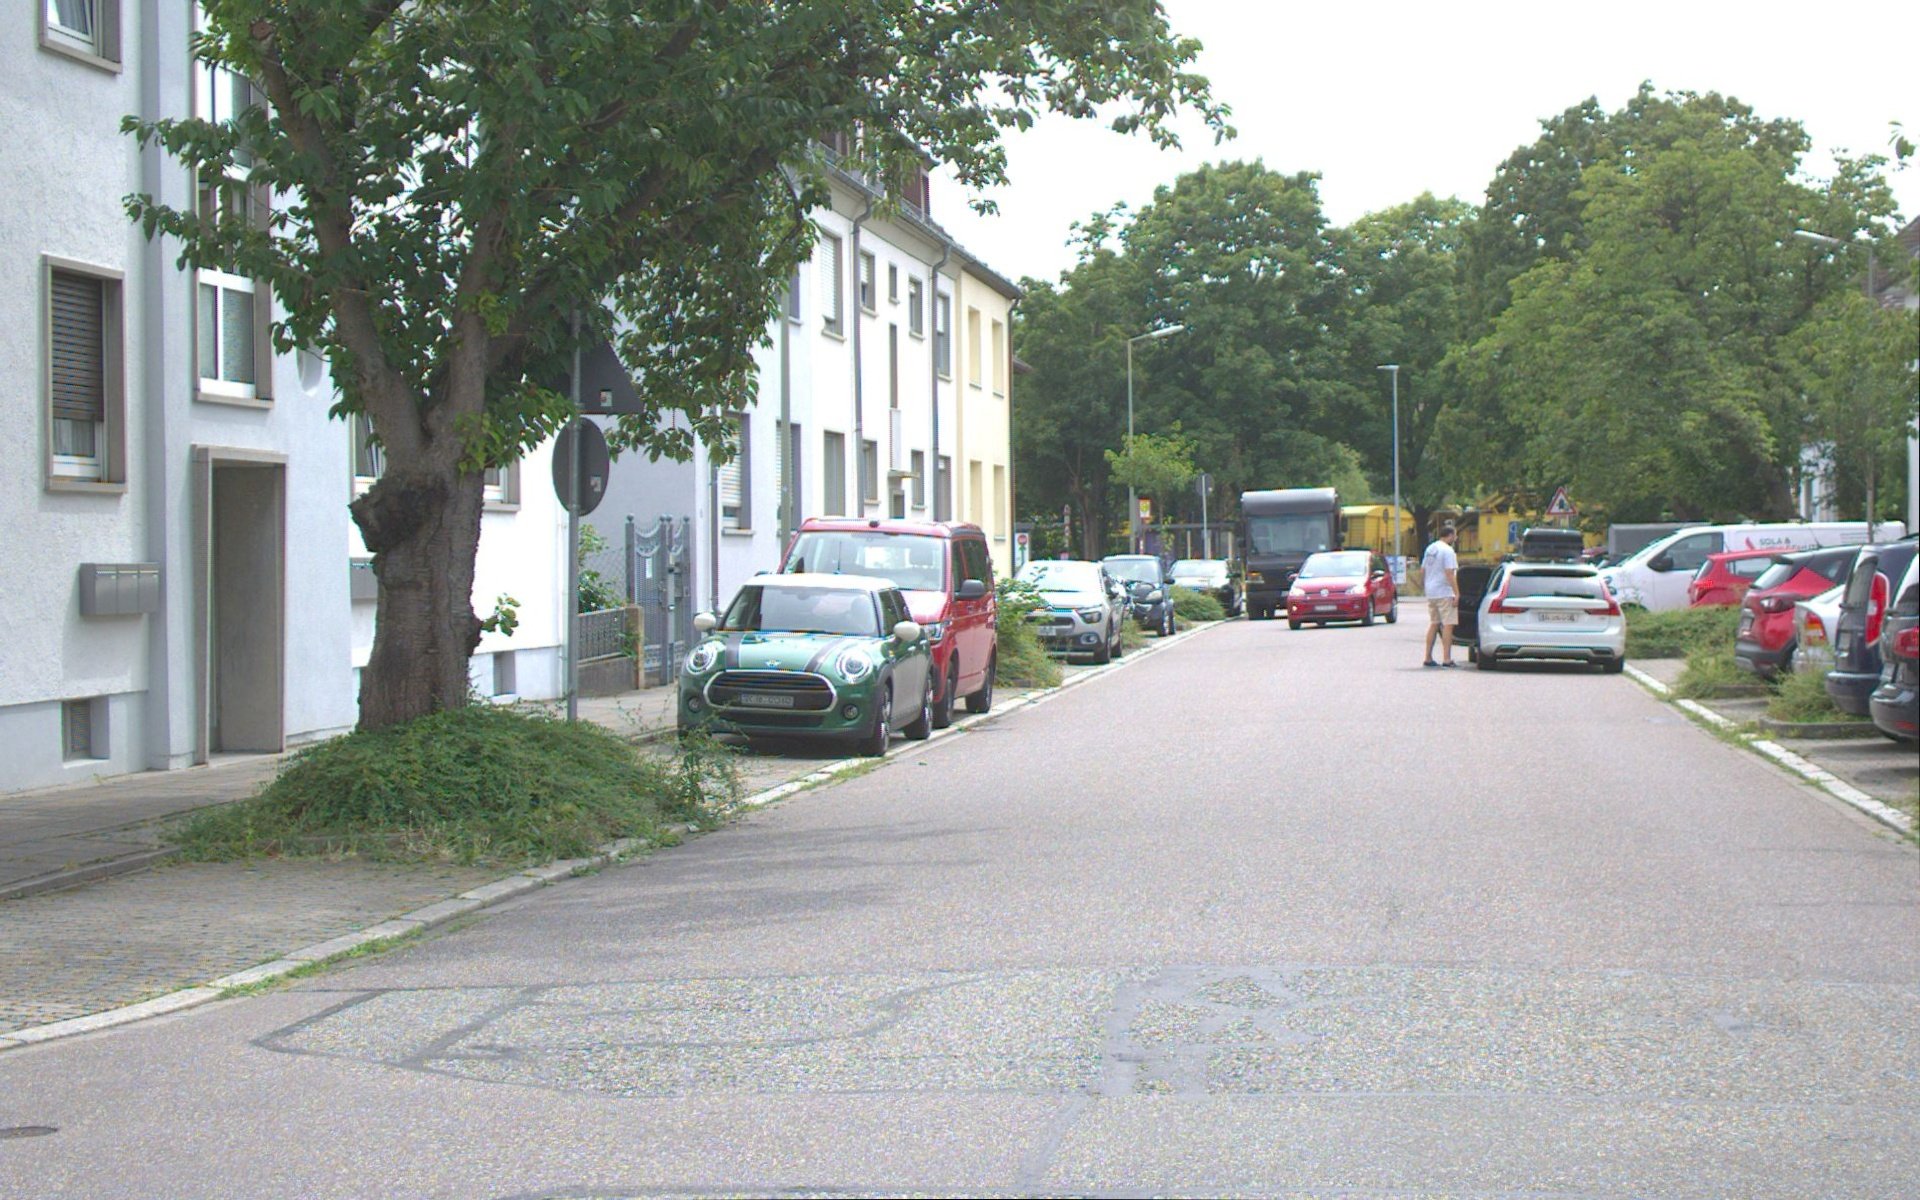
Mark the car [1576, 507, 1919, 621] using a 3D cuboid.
[{"bbox_3d":[12.098,-0.552,52.942,4.976,1.513,1.768,-2,0,6],"label":"car"}]

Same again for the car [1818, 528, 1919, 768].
[{"bbox_3d":[7.821,0.233,23.169,3.749,1.559,1.772,-2,0,9],"label":"car"}]

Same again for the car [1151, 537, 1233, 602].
[{"bbox_3d":[5.726,-0.758,84.572,1.621,1.497,3.999,-2,1,9],"label":"car"}]

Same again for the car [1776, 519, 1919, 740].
[{"bbox_3d":[8.389,0.142,26.266,3.988,1.612,1.866,-2,0,9],"label":"car"}]

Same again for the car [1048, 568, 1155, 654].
[{"bbox_3d":[2.373,0.152,56.964,1.539,1.297,3.721,-2,1,5],"label":"car"}]

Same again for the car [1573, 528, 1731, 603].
[{"bbox_3d":[16.407,-0.827,81.627,3.531,1.597,1.772,-2,0,9],"label":"car"}]

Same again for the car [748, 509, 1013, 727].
[{"bbox_3d":[-0.710,0.135,34.277,1.994,2.007,4.519,-1,1,7],"label":"car"}]

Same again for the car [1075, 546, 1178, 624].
[{"bbox_3d":[3.216,-0.303,65.817,1.652,1.372,3.721,-2,1,7],"label":"car"}]

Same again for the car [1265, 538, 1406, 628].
[{"bbox_3d":[7.388,-0.345,67.370,1.995,1.612,3.997,-2,1,17],"label":"car"}]

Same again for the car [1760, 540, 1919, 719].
[{"bbox_3d":[9.310,0.193,30.756,3.988,1.513,1.722,-2,0,8],"label":"car"}]

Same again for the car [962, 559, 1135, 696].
[{"bbox_3d":[1.081,0.290,40.357,1.652,1.456,3.551,-2,1,7],"label":"car"}]

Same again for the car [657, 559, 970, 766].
[{"bbox_3d":[-1.162,0.475,28.972,1.764,1.549,3.729,-2,1,11],"label":"car"}]

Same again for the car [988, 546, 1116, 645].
[{"bbox_3d":[1.429,-0.097,51.983,1.651,1.372,3.721,-2,1,5],"label":"car"}]

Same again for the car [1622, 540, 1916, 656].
[{"bbox_3d":[11.844,-0.039,50.540,3.988,1.513,1.722,-2,0,8],"label":"car"}]

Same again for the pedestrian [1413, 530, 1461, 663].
[{"bbox_3d":[6.195,-0.048,44.620,0.522,1.698,0.444,-2,0,11],"label":"pedestrian"}]

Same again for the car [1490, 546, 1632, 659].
[{"bbox_3d":[7.823,0.006,44.957,1.688,1.349,3.825,-2,1,9],"label":"car"}]

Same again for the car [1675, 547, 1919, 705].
[{"bbox_3d":[9.219,0.208,34.100,3.988,1.434,1.722,-2,0,8],"label":"car"}]

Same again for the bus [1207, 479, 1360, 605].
[{"bbox_3d":[7.929,-1.401,83.272,3.005,2.752,8.921,-2,1,9],"label":"bus"}]
